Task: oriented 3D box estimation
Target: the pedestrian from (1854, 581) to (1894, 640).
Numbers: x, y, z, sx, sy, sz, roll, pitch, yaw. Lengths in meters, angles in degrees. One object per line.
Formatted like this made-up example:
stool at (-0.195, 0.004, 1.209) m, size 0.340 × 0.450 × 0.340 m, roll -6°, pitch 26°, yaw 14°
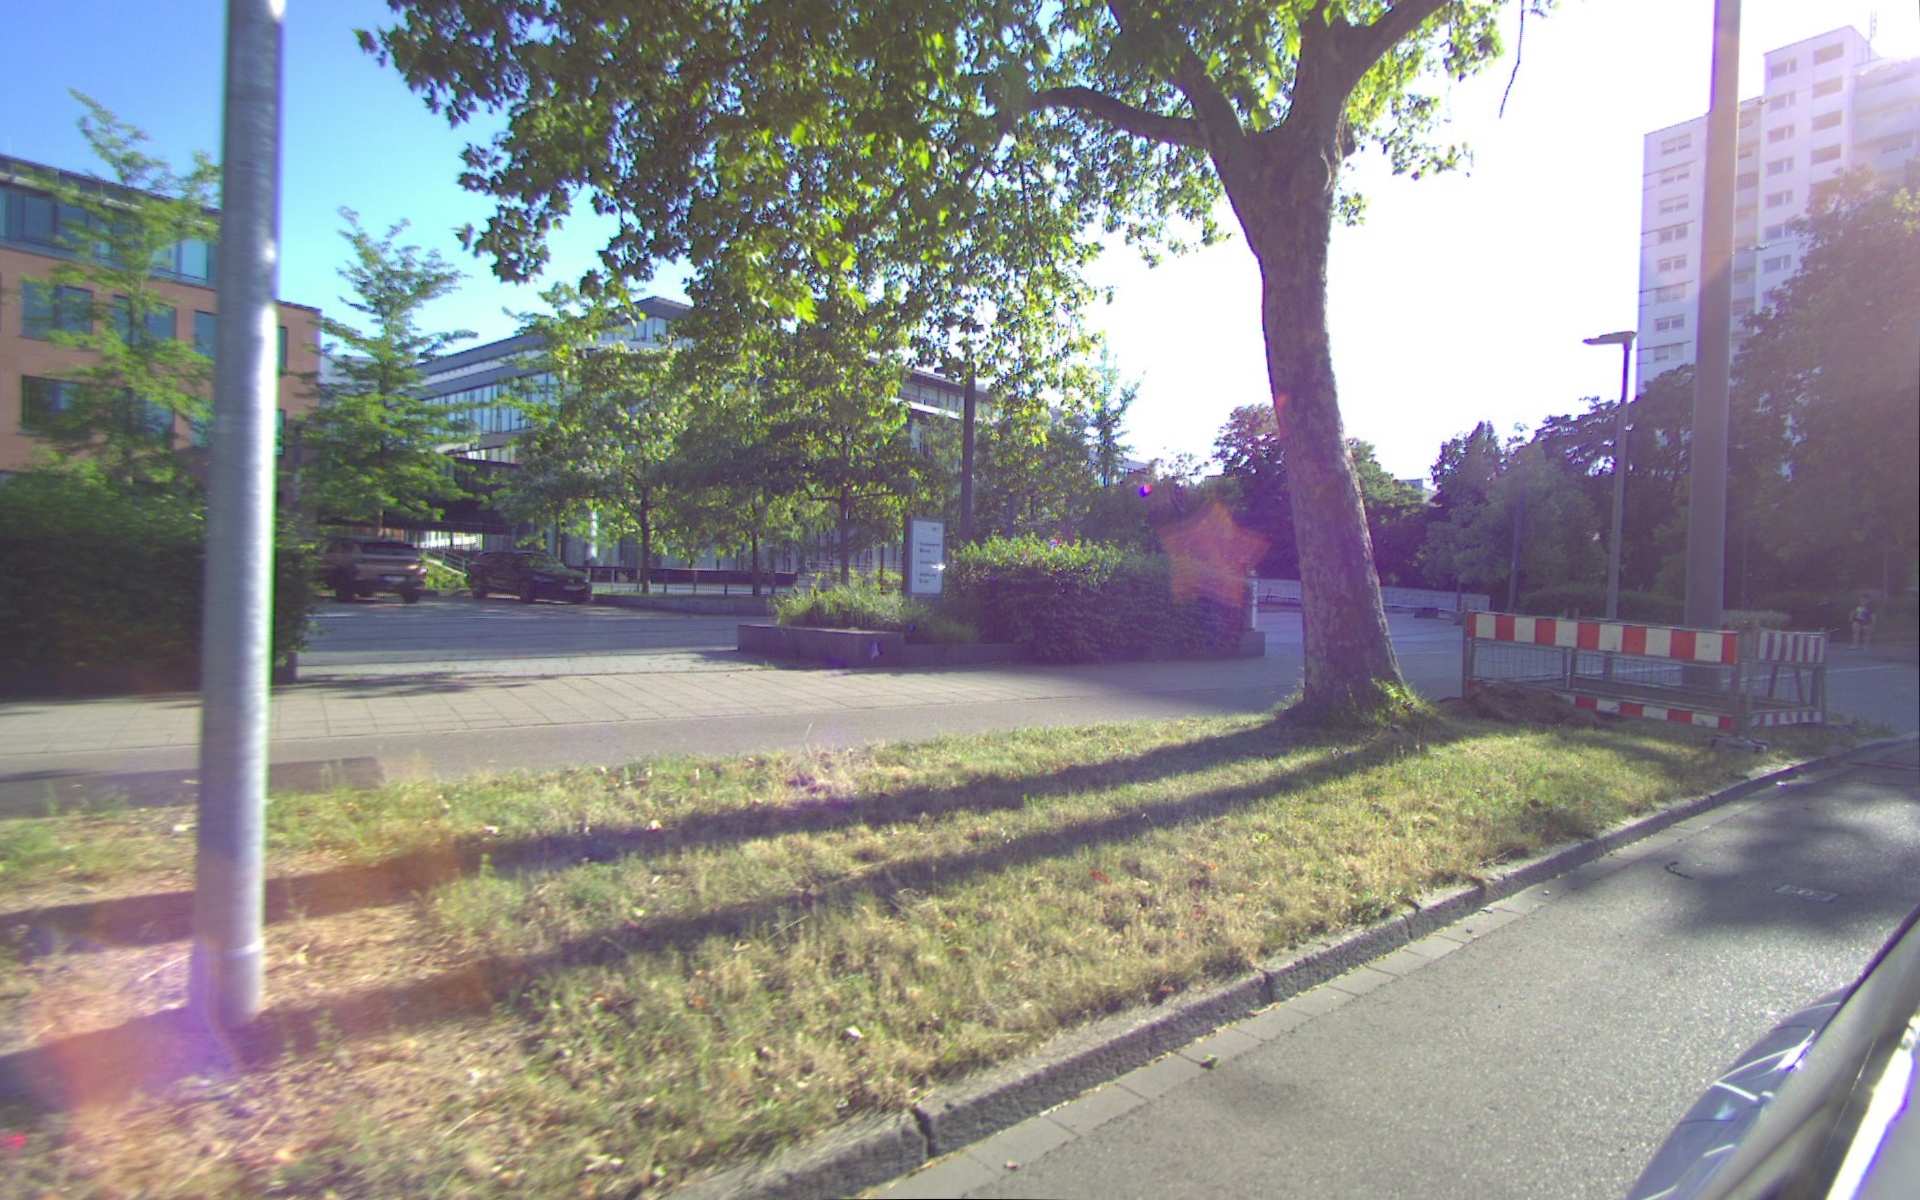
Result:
pedestrian at (26.457, 0.300, 29.293) m, size 0.725 × 1.677 × 0.630 m, roll 1°, pitch 2°, yaw -34°

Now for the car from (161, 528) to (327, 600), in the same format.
car at (-17.140, -0.881, 24.145) m, size 4.662 × 1.484 × 1.936 m, roll 4°, pitch 2°, yaw 38°

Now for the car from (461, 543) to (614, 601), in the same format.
car at (-12.349, -0.834, 29.461) m, size 4.661 × 1.503 × 2.044 m, roll 3°, pitch 1°, yaw 38°

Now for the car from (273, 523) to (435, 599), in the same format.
car at (-15.897, -1.041, 26.448) m, size 4.662 × 1.734 × 2.044 m, roll 4°, pitch 2°, yaw 38°

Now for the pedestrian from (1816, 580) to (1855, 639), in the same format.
pedestrian at (25.994, 0.275, 30.049) m, size 0.768 × 1.677 × 0.652 m, roll 1°, pitch 2°, yaw -34°

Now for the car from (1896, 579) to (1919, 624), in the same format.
car at (57.152, 0.102, 59.194) m, size 6.221 × 2.531 × 2.001 m, roll 1°, pitch -1°, yaw -32°
